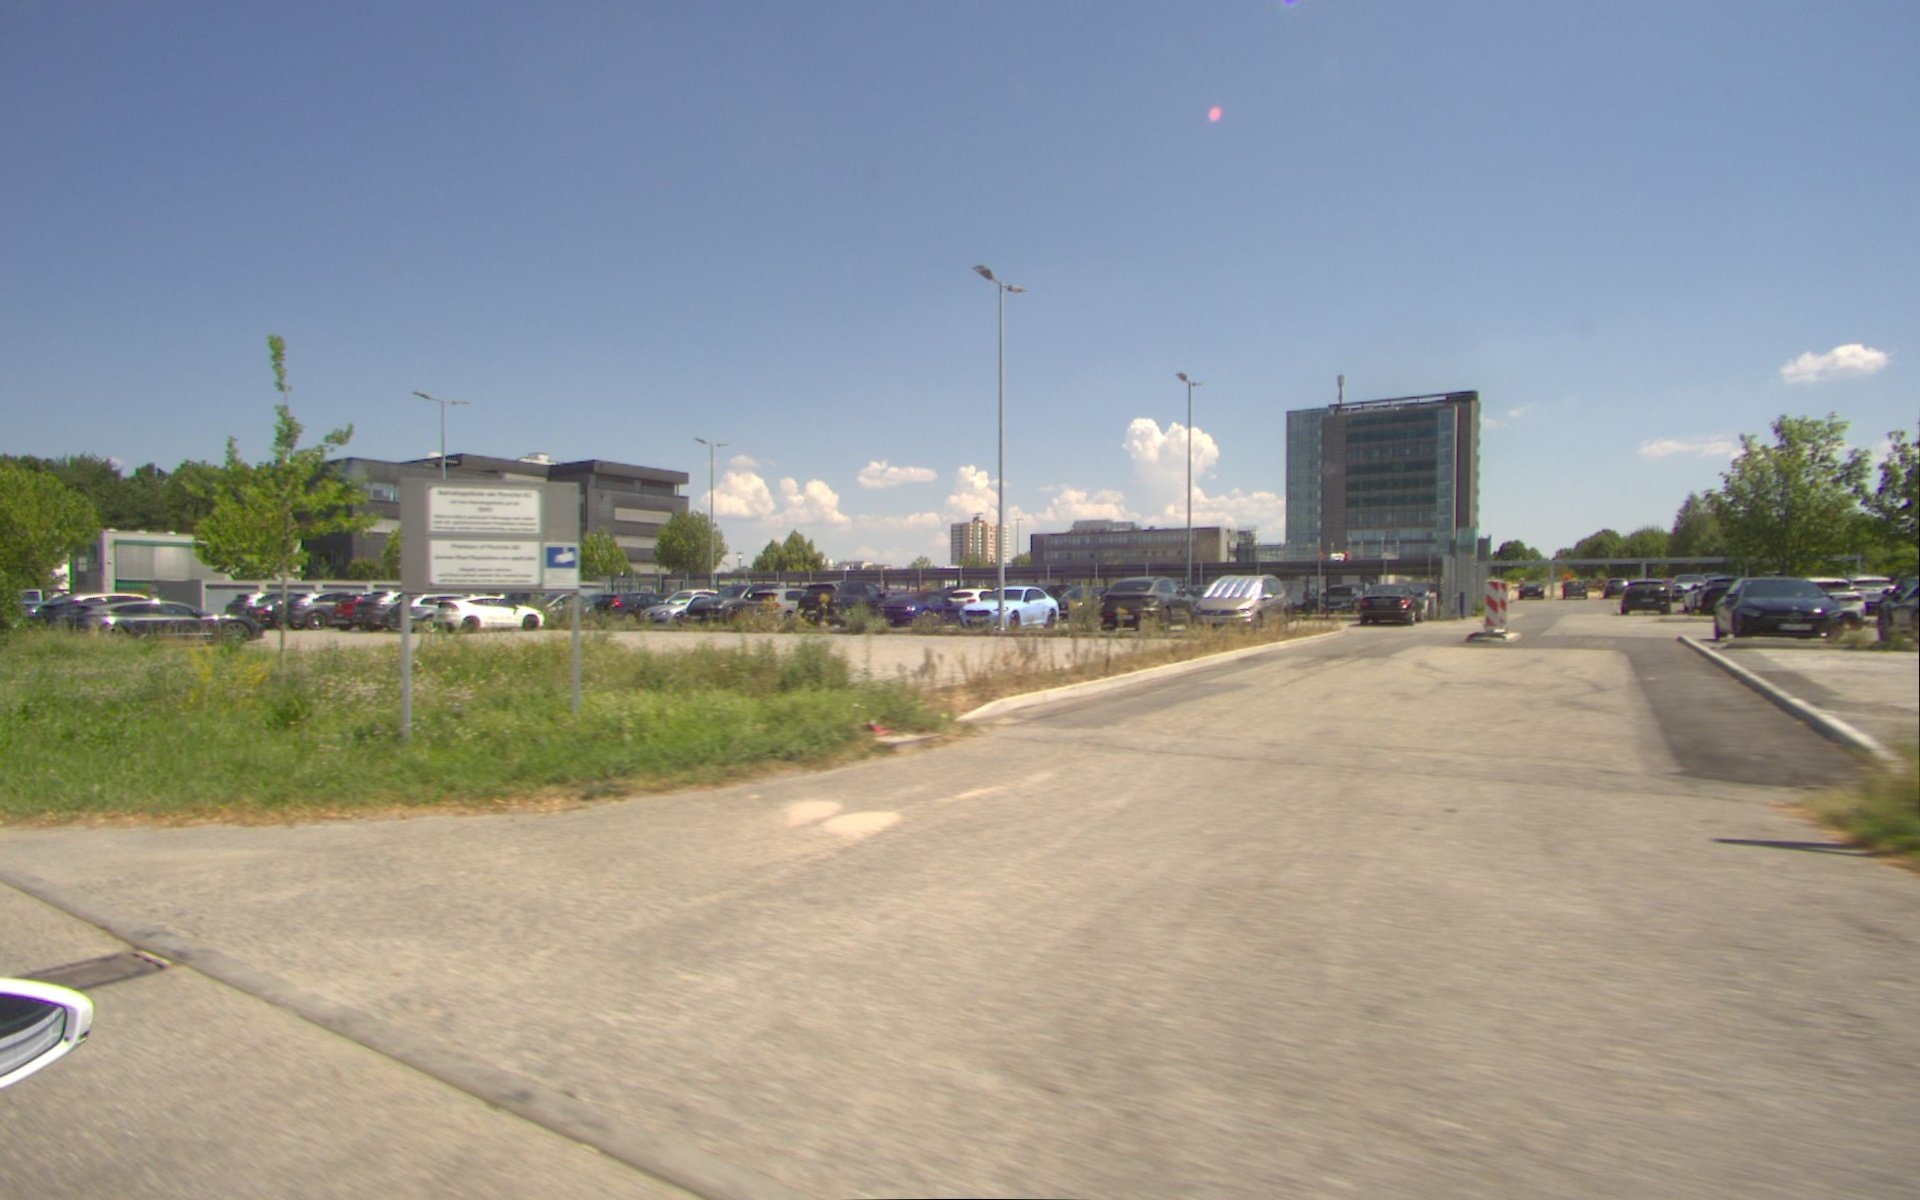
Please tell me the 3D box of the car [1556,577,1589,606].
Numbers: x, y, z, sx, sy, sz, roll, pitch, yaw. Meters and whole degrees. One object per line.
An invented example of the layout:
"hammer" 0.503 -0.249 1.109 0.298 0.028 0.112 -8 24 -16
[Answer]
"car" 46.872 -0.682 76.711 1.970 2.042 3.979 4 4 31

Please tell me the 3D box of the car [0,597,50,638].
"car" -37.286 0.694 37.685 1.741 1.420 4.156 4 3 29

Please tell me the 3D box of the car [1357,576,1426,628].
"car" 15.274 0.022 35.354 1.741 1.618 3.980 4 4 29

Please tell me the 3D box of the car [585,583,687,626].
"car" -13.552 0.146 42.057 1.741 1.618 3.980 4 4 29

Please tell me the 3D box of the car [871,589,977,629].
"car" -1.147 0.264 33.889 1.741 1.124 3.980 4 3 29

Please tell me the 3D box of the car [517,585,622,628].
"car" -16.614 0.218 42.787 1.741 1.618 3.980 4 4 29

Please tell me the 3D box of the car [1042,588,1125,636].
"car" 5.093 0.440 40.913 1.968 1.707 3.981 4 3 28

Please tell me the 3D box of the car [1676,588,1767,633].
"car" 32.792 0.386 43.246 1.965 1.663 3.988 3 3 21

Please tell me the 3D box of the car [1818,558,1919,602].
"car" 37.321 -0.848 40.981 1.965 1.663 3.988 3 3 21

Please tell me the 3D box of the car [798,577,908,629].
"car" -3.680 0.058 35.082 1.832 1.618 3.980 4 4 29

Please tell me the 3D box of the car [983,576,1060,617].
"car" 2.700 -0.192 43.417 1.741 1.618 3.980 4 4 29

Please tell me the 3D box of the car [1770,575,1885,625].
"car" 25.156 -0.022 29.177 1.670 1.359 3.982 0 1 28

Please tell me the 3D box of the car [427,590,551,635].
"car" -17.692 0.424 37.776 1.742 1.420 3.979 4 4 30

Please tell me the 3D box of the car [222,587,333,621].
"car" -32.241 0.155 47.419 1.741 1.420 3.980 4 3 29

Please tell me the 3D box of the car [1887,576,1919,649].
"car" 19.908 0.232 19.579 1.900 1.414 3.977 0 1 33

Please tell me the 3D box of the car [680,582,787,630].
"car" -8.590 0.178 38.285 1.741 1.618 3.980 4 4 29

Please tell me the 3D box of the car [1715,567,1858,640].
"car" 17.776 0.044 21.734 1.900 1.414 3.977 0 1 33

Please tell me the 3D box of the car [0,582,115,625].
"car" -34.343 0.097 37.184 1.741 1.420 4.156 4 3 29

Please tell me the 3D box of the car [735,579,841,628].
"car" -6.280 0.079 36.953 1.741 1.618 3.980 4 4 29

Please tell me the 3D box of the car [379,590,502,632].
"car" -20.114 0.384 38.930 1.741 1.420 3.980 4 3 29

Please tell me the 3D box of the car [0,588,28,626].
"car" -39.123 0.310 38.734 1.741 1.420 4.156 4 3 29

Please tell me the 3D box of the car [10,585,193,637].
"car" -27.714 0.310 32.465 1.741 1.420 4.156 4 3 29

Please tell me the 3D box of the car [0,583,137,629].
"car" -31.924 0.171 35.280 1.741 1.420 4.156 4 3 29

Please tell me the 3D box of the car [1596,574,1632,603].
"car" 49.191 -0.904 75.418 1.970 2.042 3.979 4 4 31

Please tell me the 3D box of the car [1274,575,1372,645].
"car" 9.617 0.184 26.378 1.741 1.618 3.980 4 4 29

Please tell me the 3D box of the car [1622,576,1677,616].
"car" 31.219 -0.231 45.437 1.768 1.663 3.978 4 4 32

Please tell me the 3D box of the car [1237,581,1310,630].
"car" 11.817 0.138 37.591 1.741 1.618 3.980 4 4 29

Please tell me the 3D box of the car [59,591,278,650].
"car" -23.069 0.532 29.372 1.894 1.420 4.689 4 4 35

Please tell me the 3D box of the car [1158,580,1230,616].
"car" 9.120 -0.133 38.858 1.704 1.209 3.981 4 3 28

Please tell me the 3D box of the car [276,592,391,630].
"car" -27.794 0.460 44.532 1.741 1.420 3.980 4 3 29

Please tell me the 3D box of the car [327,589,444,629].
"car" -24.204 0.335 42.320 1.741 1.482 3.980 4 3 29

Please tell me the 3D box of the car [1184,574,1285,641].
"car" 7.706 0.139 27.855 1.741 1.618 3.980 4 4 29

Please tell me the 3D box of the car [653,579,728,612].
"car" -14.926 -0.293 55.702 1.741 1.618 3.980 4 4 29

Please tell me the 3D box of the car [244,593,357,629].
"car" -30.239 0.458 46.007 1.741 1.420 3.980 4 3 29

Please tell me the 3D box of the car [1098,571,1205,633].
"car" 5.749 -0.021 29.671 1.741 1.618 4.359 4 3 29

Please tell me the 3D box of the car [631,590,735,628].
"car" -11.085 0.321 40.314 1.741 1.289 3.980 4 3 29

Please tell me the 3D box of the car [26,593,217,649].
"car" -25.663 0.577 30.809 1.741 1.420 4.156 4 3 29

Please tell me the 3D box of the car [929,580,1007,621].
"car" 0.412 -0.011 45.090 1.741 1.618 3.980 4 4 29

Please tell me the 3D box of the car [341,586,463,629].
"car" -22.349 0.258 40.271 1.741 1.511 3.980 4 3 29

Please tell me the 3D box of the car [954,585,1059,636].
"car" 1.562 0.282 32.213 1.741 1.412 3.980 4 3 29
